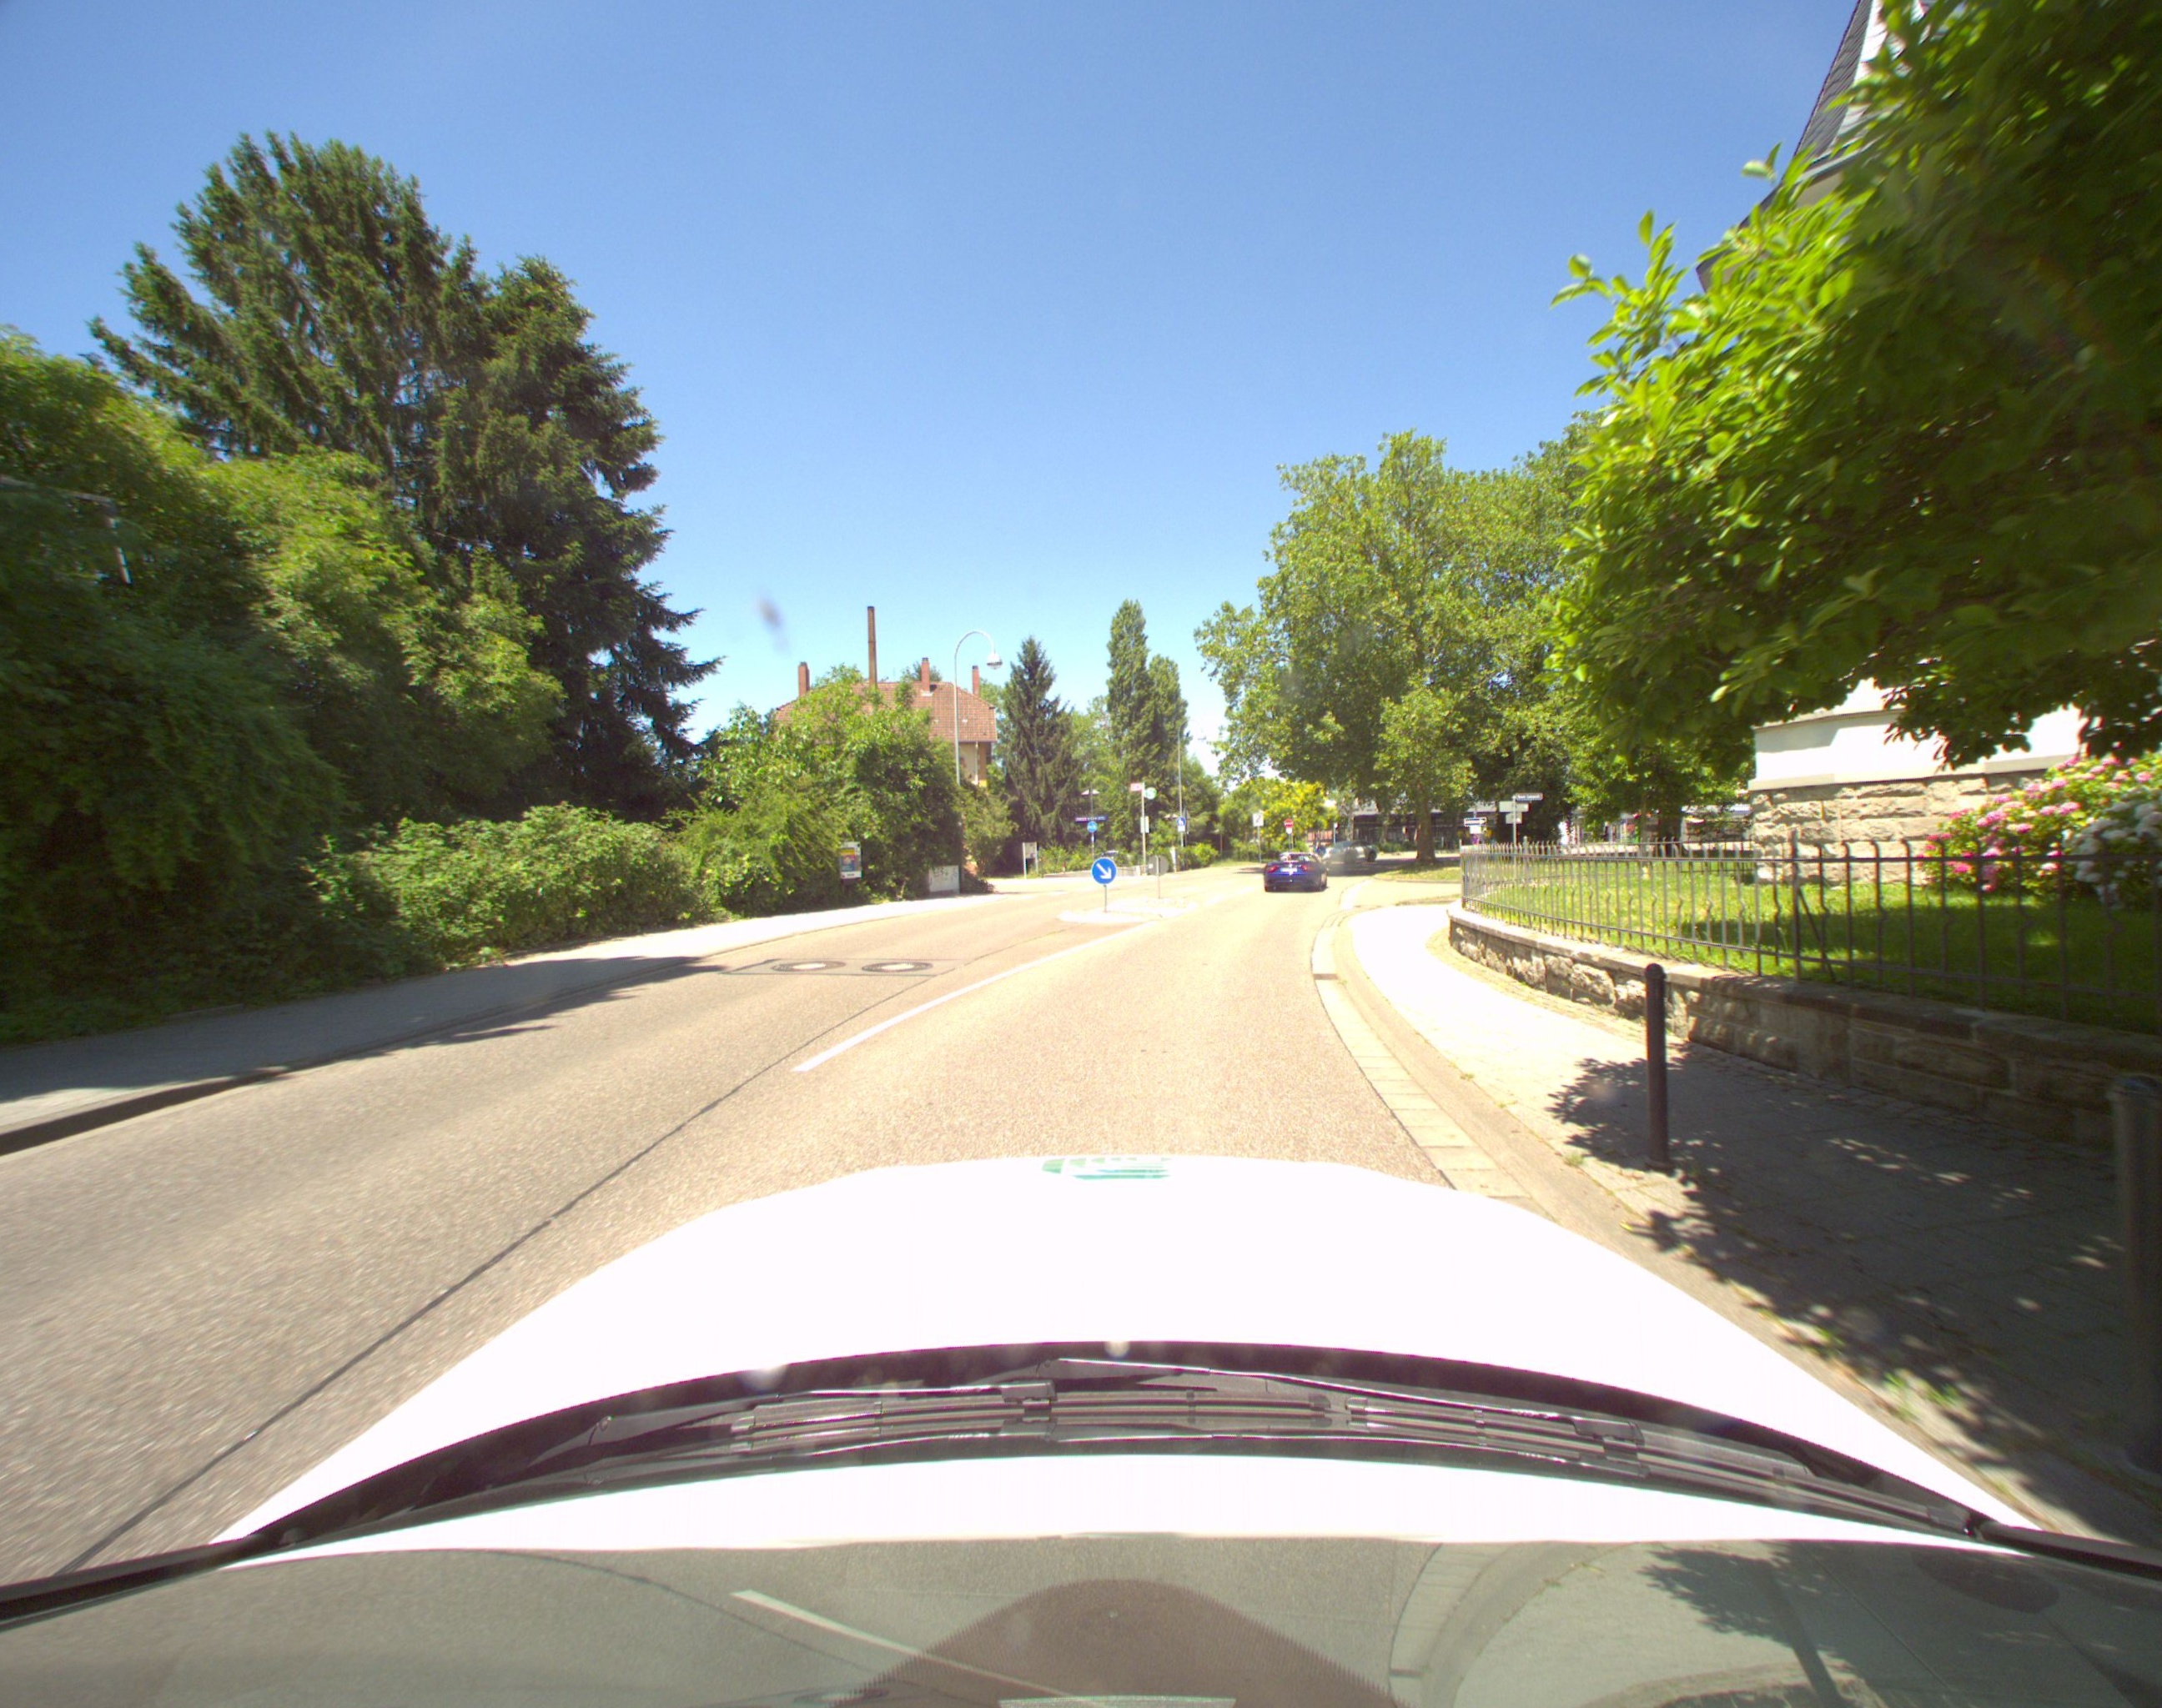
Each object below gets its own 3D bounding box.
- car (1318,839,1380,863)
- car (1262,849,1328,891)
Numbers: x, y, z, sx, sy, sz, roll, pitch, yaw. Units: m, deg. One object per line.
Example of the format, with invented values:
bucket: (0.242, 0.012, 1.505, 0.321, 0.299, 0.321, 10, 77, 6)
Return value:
car: (18.722, -0.203, 56.814, 4.493, 1.576, 1.806, -1, 0, -36)
car: (7.713, 0.530, 29.082, 1.811, 1.336, 4.724, -1, 1, 20)
